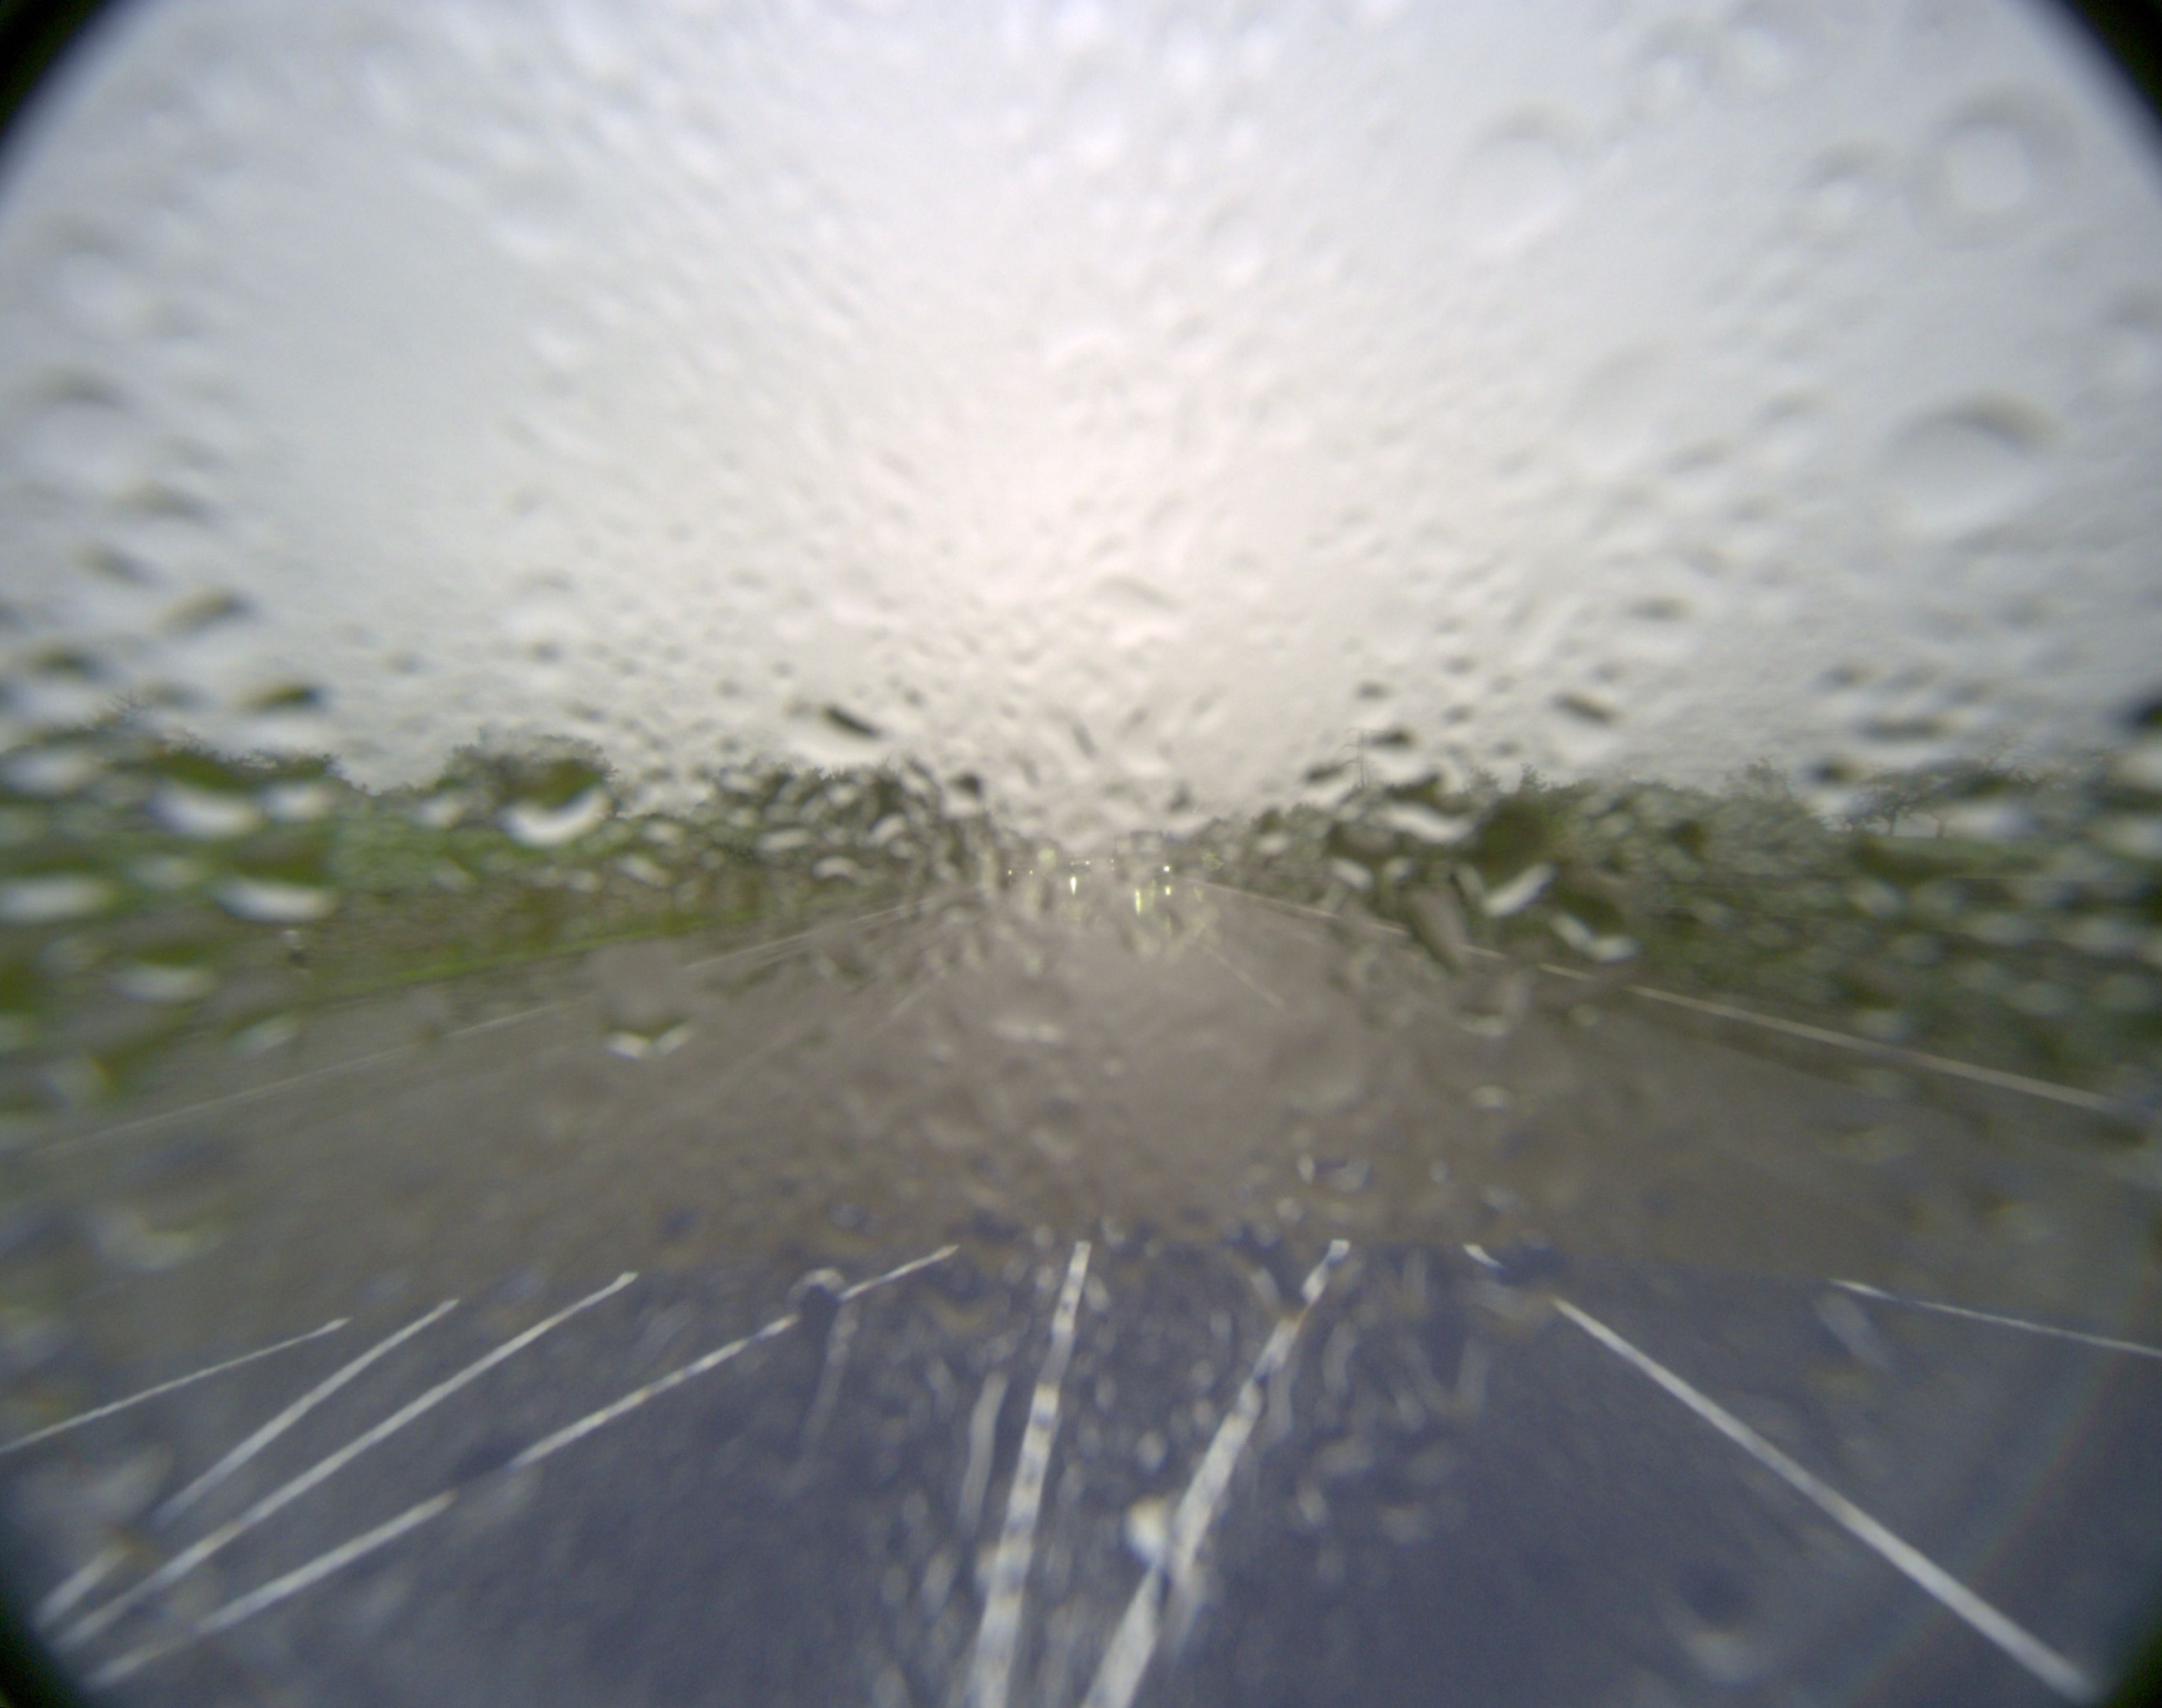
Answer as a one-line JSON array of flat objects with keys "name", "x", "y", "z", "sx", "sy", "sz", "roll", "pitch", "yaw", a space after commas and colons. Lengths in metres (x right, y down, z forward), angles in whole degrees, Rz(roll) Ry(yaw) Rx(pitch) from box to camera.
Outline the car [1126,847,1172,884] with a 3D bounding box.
[{"name": "car", "x": 3.482, "y": 0.566, "z": 39.647, "sx": 2.047, "sy": 1.764, "sz": 4.500, "roll": -1, "pitch": 1, "yaw": 1}]

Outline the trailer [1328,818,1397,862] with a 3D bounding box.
[{"name": "trailer", "x": 21.213, "y": -1.056, "z": 57.761, "sx": 2.252, "sy": 3.047, "sz": 8.264, "roll": -2, "pitch": 1, "yaw": 1}]

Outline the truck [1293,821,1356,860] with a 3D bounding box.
[{"name": "truck", "x": 21.339, "y": -1.175, "z": 67.231, "sx": 2.245, "sy": 3.019, "sz": 10.614, "roll": -2, "pitch": 1, "yaw": 1}]

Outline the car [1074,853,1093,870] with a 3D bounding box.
[{"name": "car", "x": 0.257, "y": 0.707, "z": 72.527, "sx": 1.753, "sy": 1.406, "sz": 3.999, "roll": -2, "pitch": 1, "yaw": 0}]

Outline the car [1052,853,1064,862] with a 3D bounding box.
[{"name": "car", "x": -3.538, "y": 0.510, "z": 118.020, "sx": 1.753, "sy": 1.205, "sz": 3.999, "roll": -2, "pitch": 1, "yaw": 0}]

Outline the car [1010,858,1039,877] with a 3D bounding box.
[{"name": "car", "x": -4.159, "y": 0.953, "z": 56.435, "sx": 1.753, "sy": 1.205, "sz": 3.999, "roll": -2, "pitch": 1, "yaw": 0}]

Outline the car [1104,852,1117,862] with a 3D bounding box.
[{"name": "car", "x": 4.471, "y": 0.455, "z": 115.422, "sx": 1.753, "sy": 1.369, "sz": 3.999, "roll": -2, "pitch": 1, "yaw": 0}]
